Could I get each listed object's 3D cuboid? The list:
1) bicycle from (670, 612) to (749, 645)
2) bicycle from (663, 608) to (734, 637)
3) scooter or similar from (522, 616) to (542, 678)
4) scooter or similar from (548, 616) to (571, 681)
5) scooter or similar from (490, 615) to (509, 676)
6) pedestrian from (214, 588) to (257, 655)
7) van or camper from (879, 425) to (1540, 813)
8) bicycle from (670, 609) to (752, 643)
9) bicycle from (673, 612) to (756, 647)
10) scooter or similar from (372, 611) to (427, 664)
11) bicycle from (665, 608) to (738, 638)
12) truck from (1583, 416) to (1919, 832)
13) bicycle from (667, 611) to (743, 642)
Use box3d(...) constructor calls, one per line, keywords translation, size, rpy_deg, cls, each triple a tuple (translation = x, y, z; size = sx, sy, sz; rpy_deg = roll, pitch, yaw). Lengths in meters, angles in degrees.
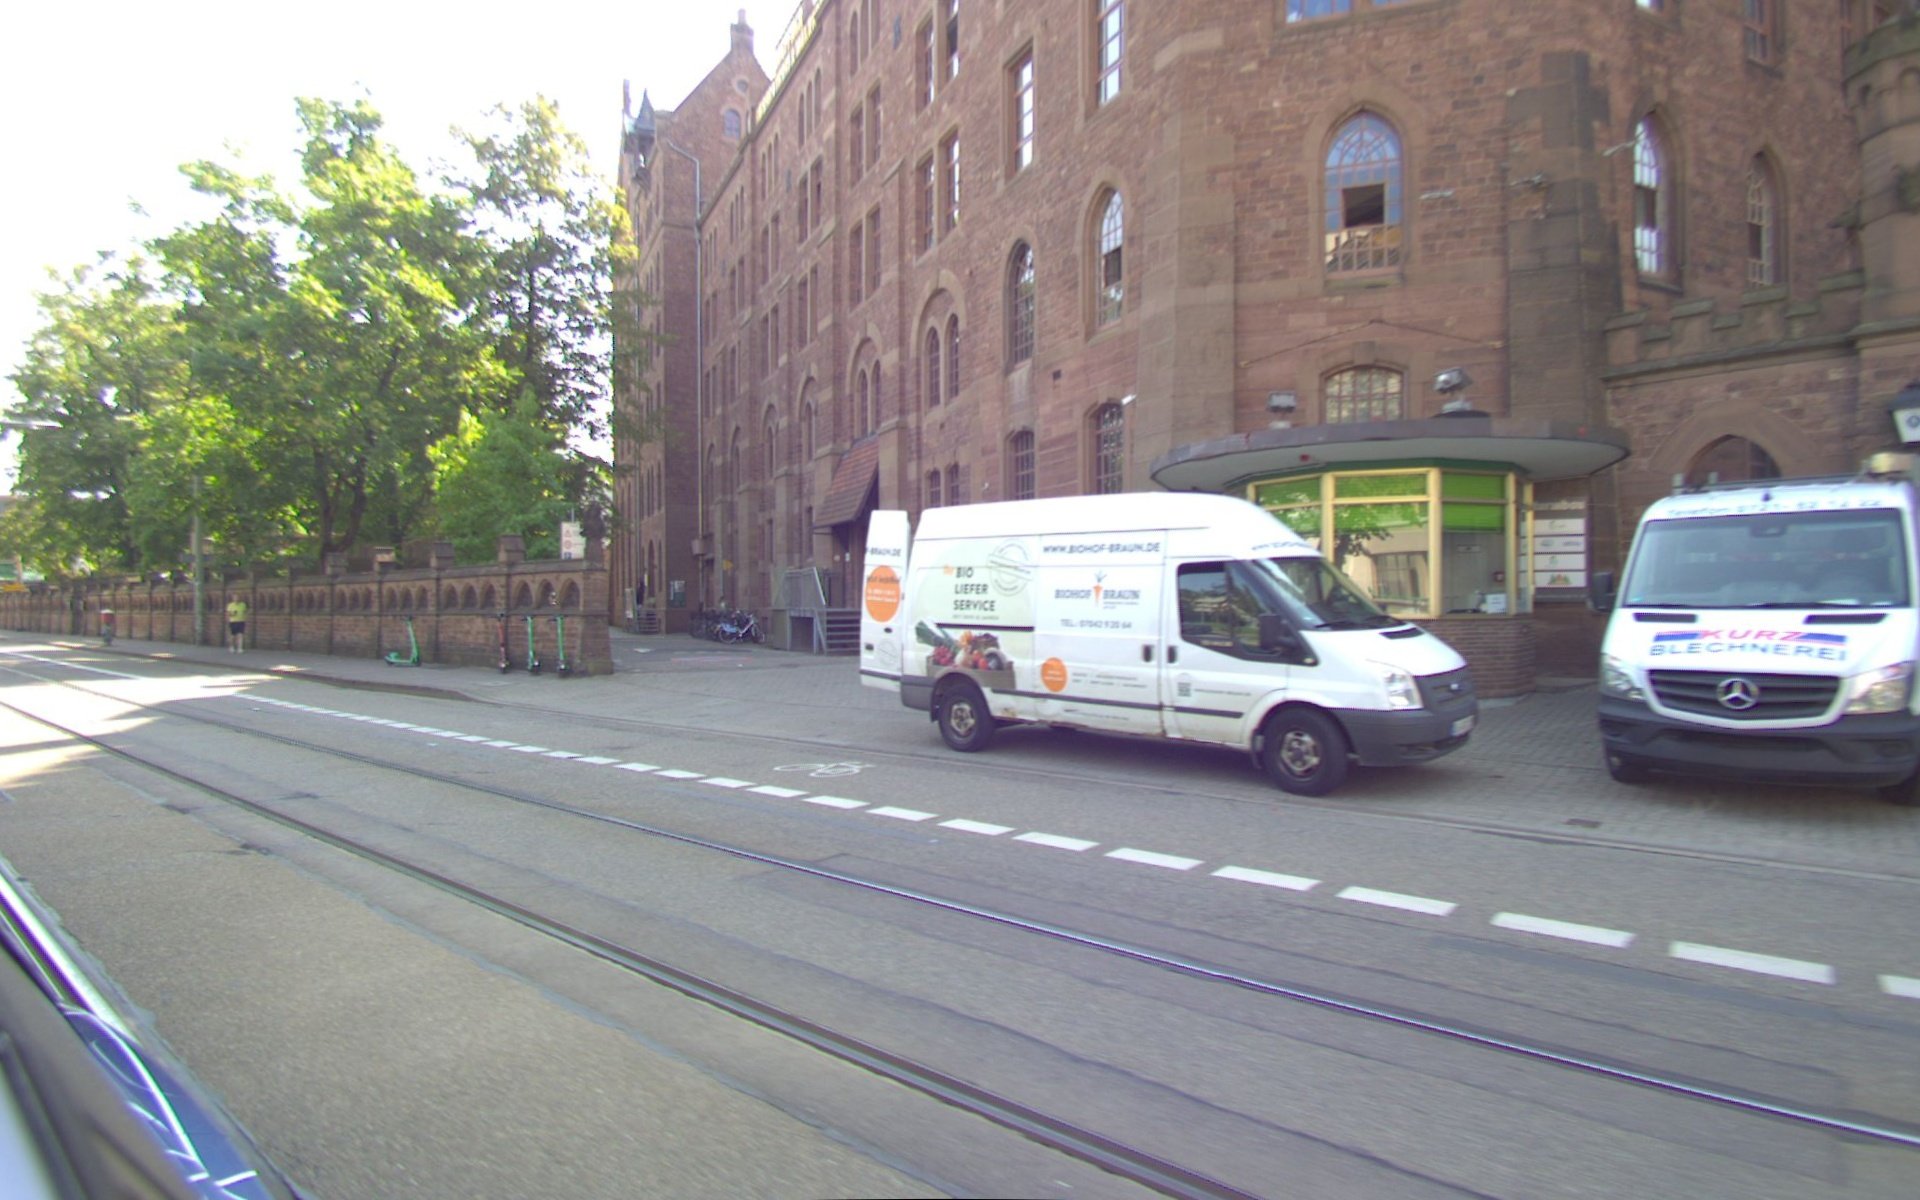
box3d(translation=(-8.923, 0.994, 36.094), size=(2.642, 1.105, 0.904), rpy_deg=(-1, 0, -20), cls="bicycle")
box3d(translation=(-10.343, 0.883, 40.054), size=(2.642, 1.105, 0.904), rpy_deg=(-1, 0, -20), cls="bicycle")
box3d(translation=(-8.509, 0.912, 20.097), size=(0.334, 1.187, 1.182), rpy_deg=(0, 0, -25), cls="scooter or similar")
box3d(translation=(-7.658, 0.906, 19.349), size=(0.334, 1.187, 1.182), rpy_deg=(0, 0, -25), cls="scooter or similar")
box3d(translation=(-9.456, 0.919, 20.791), size=(0.334, 1.187, 1.182), rpy_deg=(0, 0, -25), cls="scooter or similar")
box3d(translation=(-22.523, 0.654, 31.472), size=(0.982, 2.029, 0.856), rpy_deg=(-1, 0, 38), cls="pedestrian")
box3d(translation=(2.026, 0.139, 9.818), size=(5.953, 2.695, 2.090), rpy_deg=(0, 0, 42), cls="van or camper")
box3d(translation=(-8.608, 0.876, 35.012), size=(2.642, 1.105, 0.904), rpy_deg=(-1, 0, -20), cls="bicycle")
box3d(translation=(-8.270, 0.981, 34.082), size=(2.642, 1.105, 0.904), rpy_deg=(-1, 0, -20), cls="bicycle")
box3d(translation=(-12.935, 0.853, 23.333), size=(1.309, 1.187, 0.418), rpy_deg=(0, 0, 25), cls="scooter or similar")
box3d(translation=(-9.965, 0.881, 39.054), size=(2.642, 1.105, 0.904), rpy_deg=(-1, 0, -20), cls="bicycle")
box3d(translation=(7.601, 0.000, 8.933), size=(2.132, 2.557, 6.250), rpy_deg=(-2, 2, 45), cls="truck")
box3d(translation=(-9.451, 0.970, 37.498), size=(2.642, 1.105, 0.904), rpy_deg=(-1, 0, -20), cls="bicycle")
